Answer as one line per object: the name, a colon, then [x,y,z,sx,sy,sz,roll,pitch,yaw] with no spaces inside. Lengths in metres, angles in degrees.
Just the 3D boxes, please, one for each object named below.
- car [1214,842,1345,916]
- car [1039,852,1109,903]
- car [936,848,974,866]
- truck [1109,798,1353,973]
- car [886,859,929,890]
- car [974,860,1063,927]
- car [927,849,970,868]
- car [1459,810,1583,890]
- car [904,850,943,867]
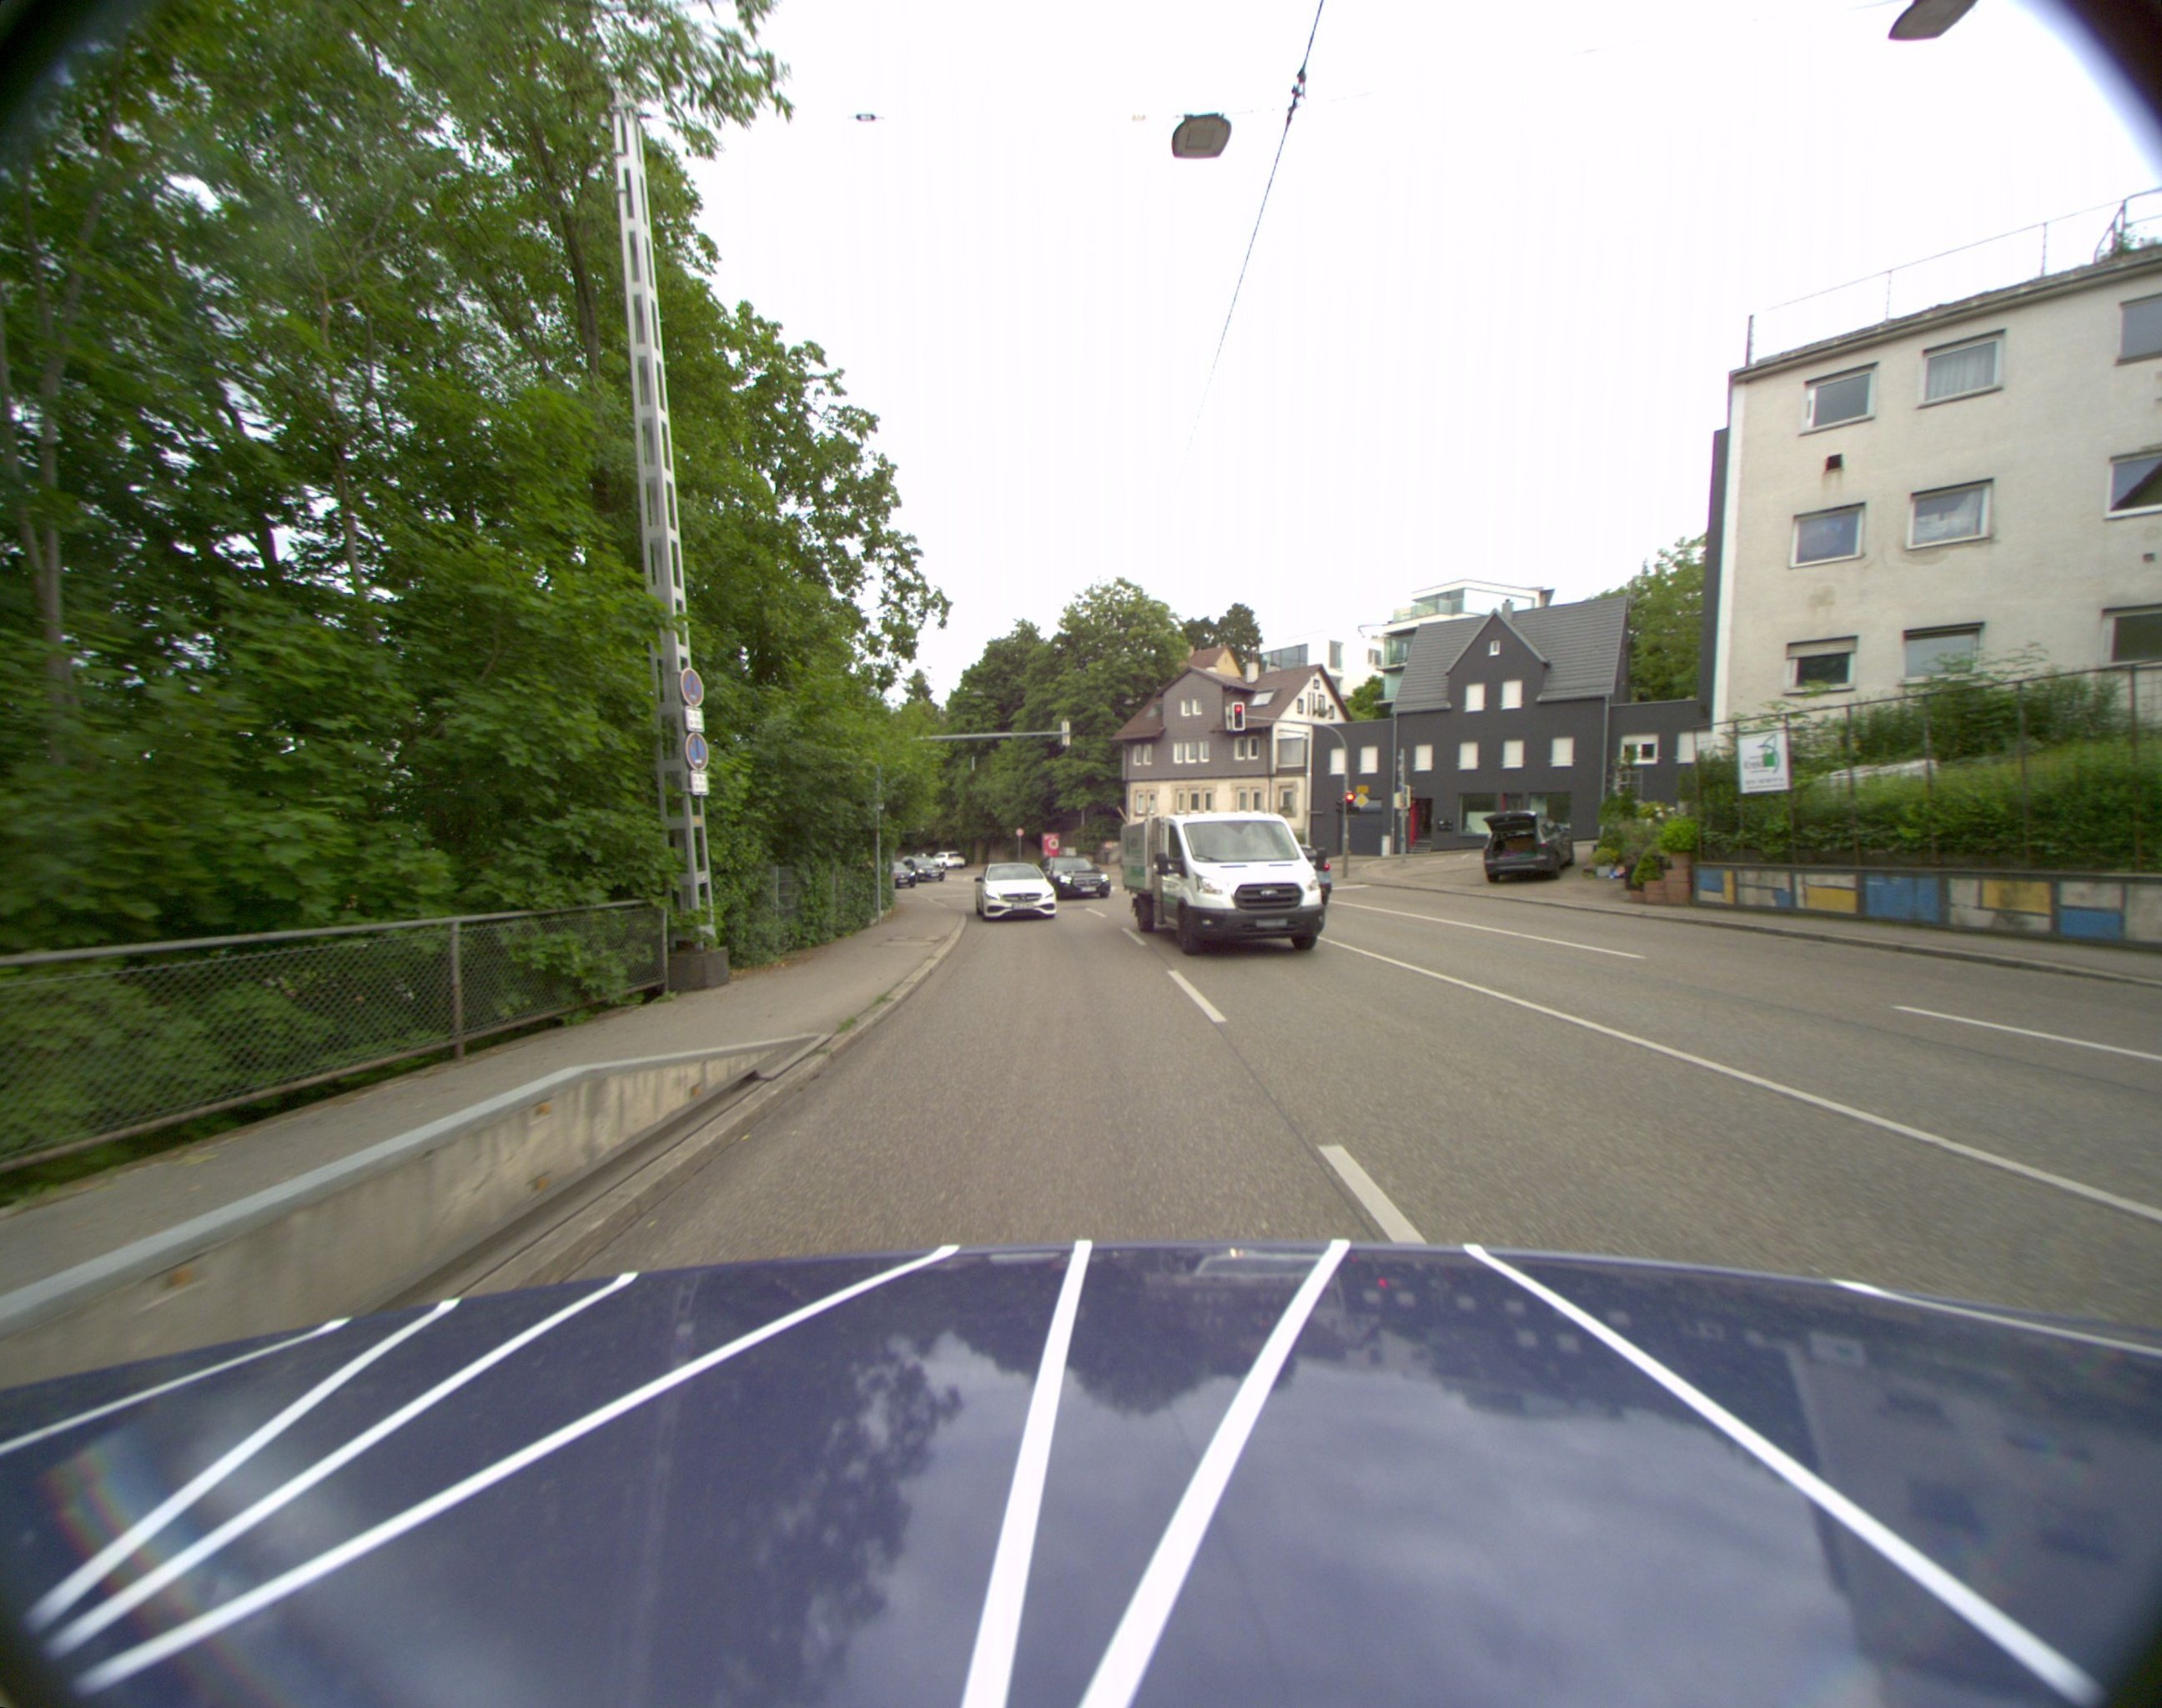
car: [5.094,0.574,20.216,1.901,1.685,4.344,-2,1,-6]
car: [-0.336,0.771,27.229,1.917,1.472,4.396,-4,2,-7]
car: [-12.090,0.271,72.737,1.720,1.520,4.290,-5,2,-38]
truck: [2.183,0.398,13.452,2.082,2.307,6.326,-2,1,-10]
car: [-10.042,1.144,43.793,1.780,1.533,3.992,-4,2,-22]
car: [-1.734,0.931,19.711,1.819,1.391,3.995,-3,1,-11]
car: [-11.803,0.406,67.466,1.892,1.559,4.377,-4,2,-37]
car: [13.366,-0.162,22.934,2.313,1.703,4.709,-6,3,41]
car: [-16.054,0.475,77.481,1.788,1.620,4.159,-5,2,-45]
